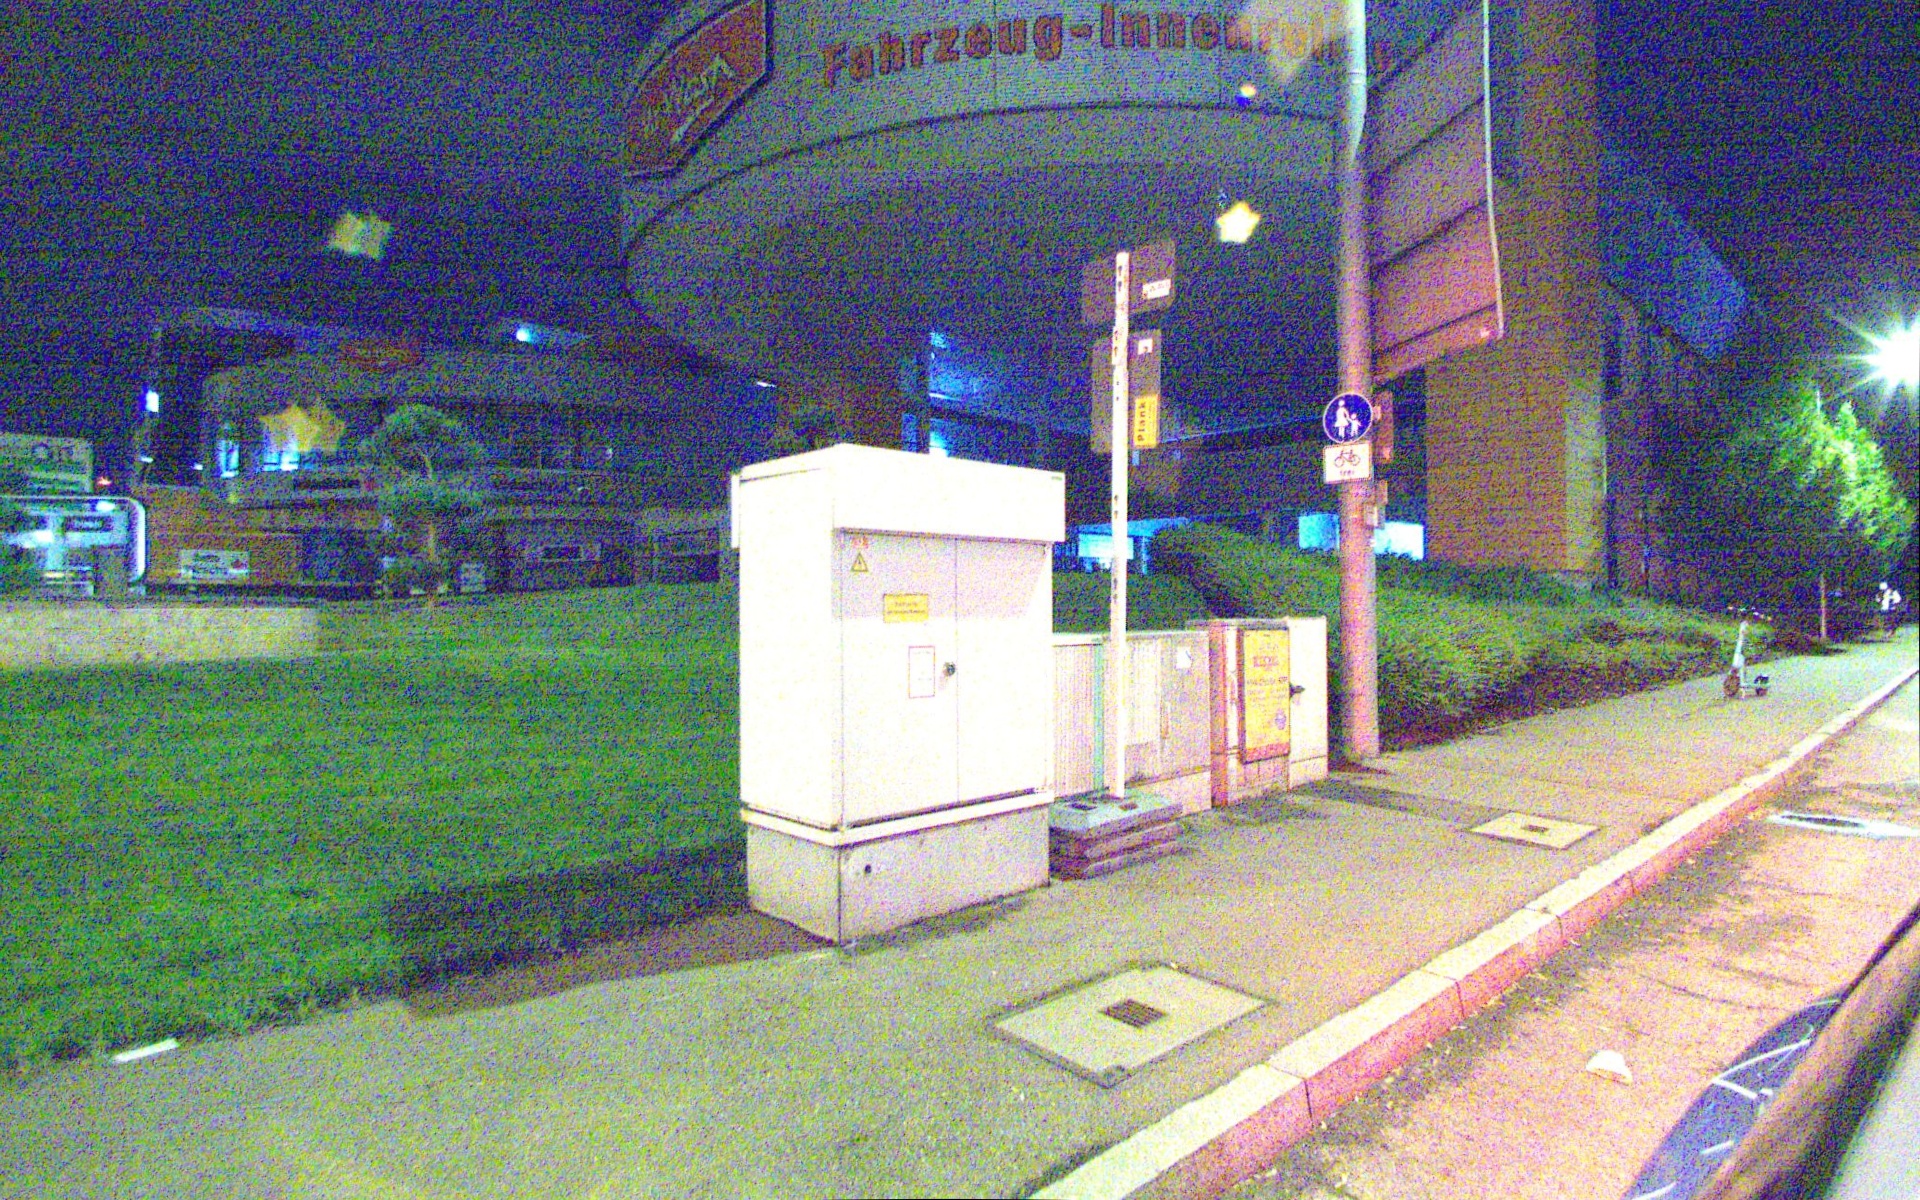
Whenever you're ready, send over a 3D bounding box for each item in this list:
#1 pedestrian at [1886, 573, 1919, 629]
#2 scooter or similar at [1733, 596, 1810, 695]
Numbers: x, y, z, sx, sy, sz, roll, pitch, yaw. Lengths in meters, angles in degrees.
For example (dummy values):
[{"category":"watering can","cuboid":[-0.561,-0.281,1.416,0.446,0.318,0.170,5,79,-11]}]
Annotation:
[{"category":"pedestrian","cuboid":[31.886,0.036,34.177,0.597,1.842,0.824,-1,0,-40]},{"category":"scooter or similar","cuboid":[11.270,0.601,14.044,1.367,1.295,0.569,0,1,-41]}]
